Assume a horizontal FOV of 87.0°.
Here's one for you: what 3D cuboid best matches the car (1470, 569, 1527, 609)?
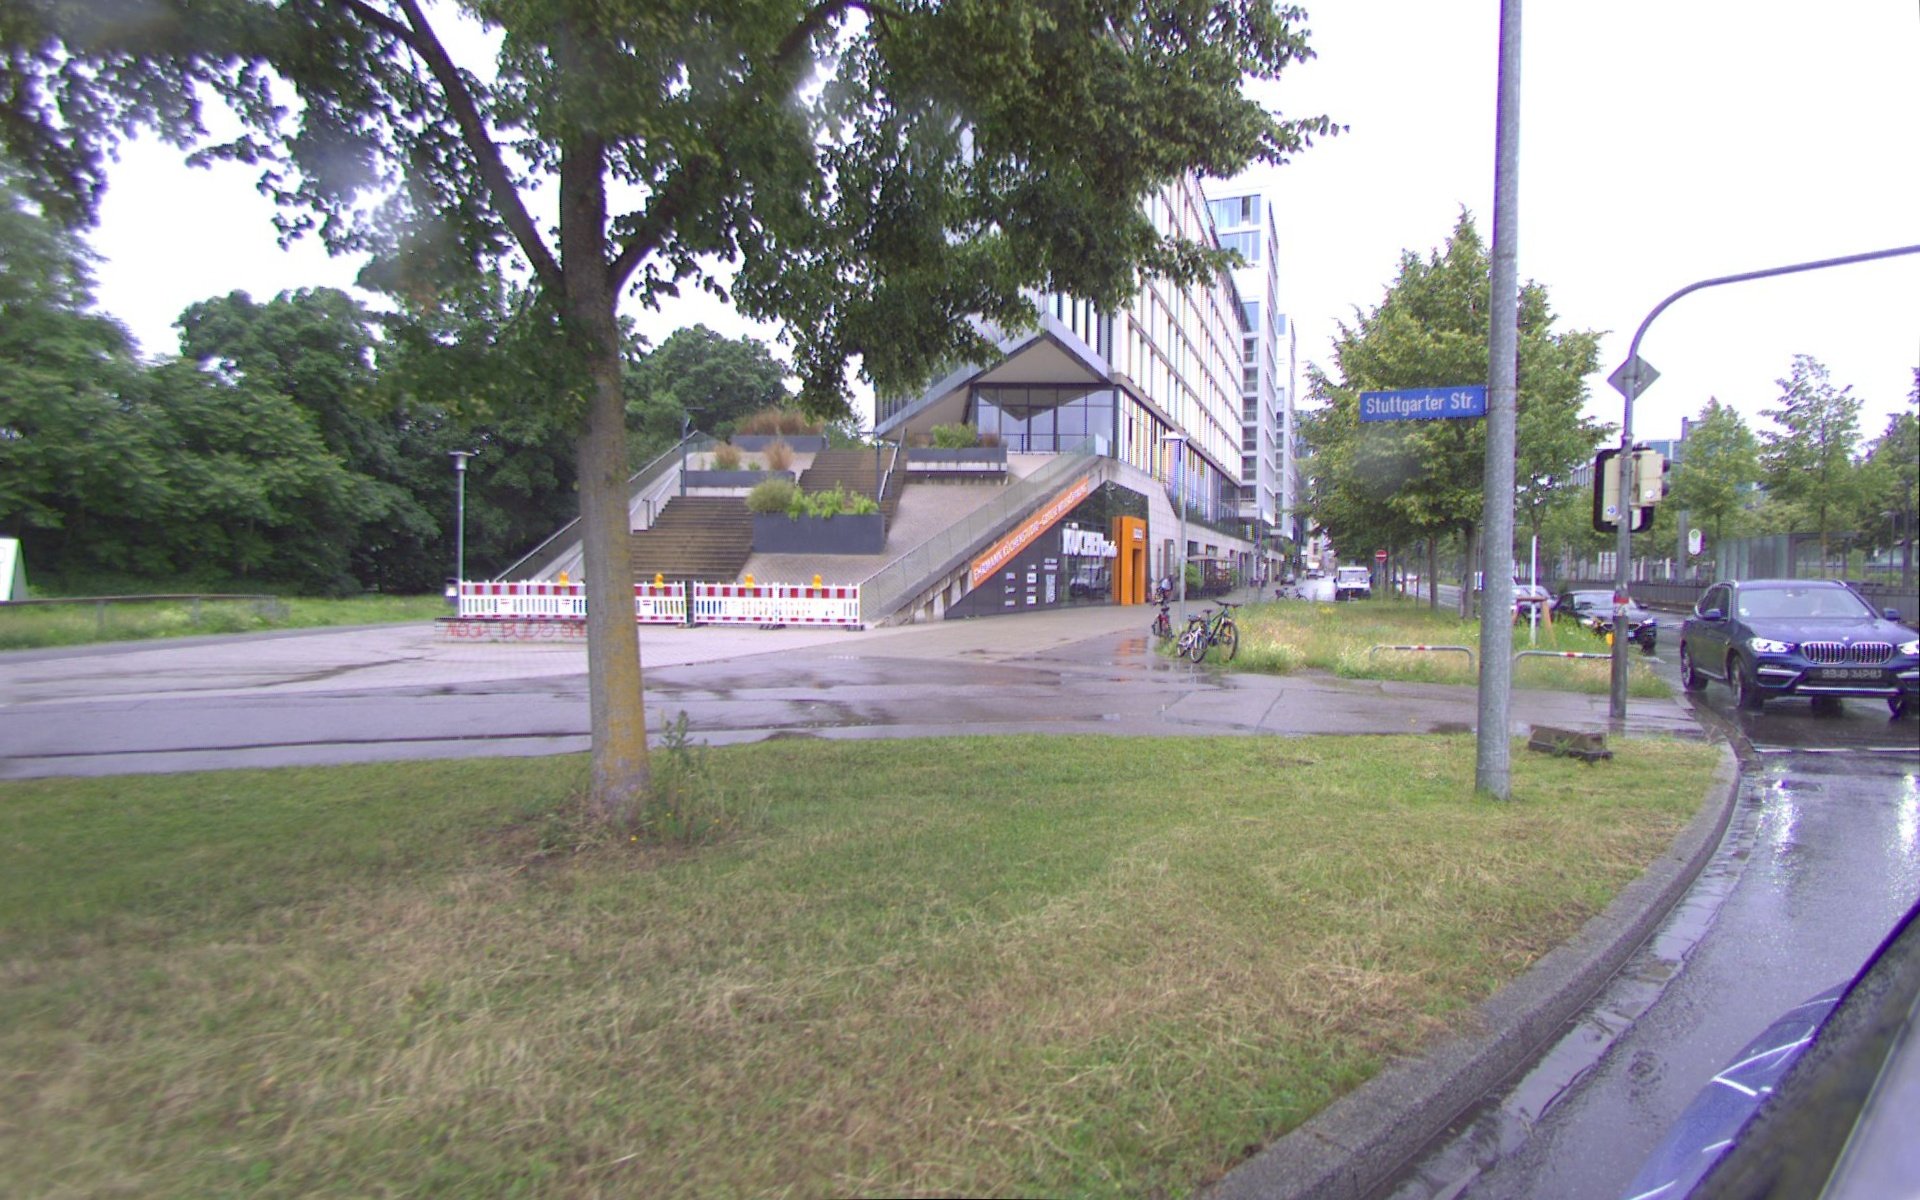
[{"bbox_3d":[23.798,-0.509,44.825,1.768,1.668,3.971,-2,1,22],"label":"car"}]

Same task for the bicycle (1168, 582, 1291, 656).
[{"bbox_3d":[4.619,0.283,17.586,0.542,1.204,2.529,0,1,-26],"label":"bicycle"}]

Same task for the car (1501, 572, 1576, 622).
[{"bbox_3d":[20.856,-0.146,36.625,1.768,1.668,3.971,-2,1,22],"label":"car"}]

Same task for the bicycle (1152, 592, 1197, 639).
[{"bbox_3d":[4.358,0.289,20.496,0.628,0.857,2.150,0,1,19],"label":"bicycle"}]

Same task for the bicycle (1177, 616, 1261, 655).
[{"bbox_3d":[4.426,0.593,17.414,0.314,0.566,1.806,0,1,-26],"label":"bicycle"}]

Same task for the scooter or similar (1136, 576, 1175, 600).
[{"bbox_3d":[10.047,-0.616,51.982,0.808,1.113,2.577,-1,1,40],"label":"scooter or similar"}]

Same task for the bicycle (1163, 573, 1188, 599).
[{"bbox_3d":[11.716,-0.768,54.977,0.873,1.364,2.678,-2,1,22],"label":"bicycle"}]

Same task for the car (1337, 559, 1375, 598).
[{"bbox_3d":[24.562,-1.355,62.755,2.061,2.229,5.061,-2,1,22],"label":"car"}]

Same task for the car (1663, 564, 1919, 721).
[{"bbox_3d":[11.251,0.441,13.667,1.895,1.768,4.352,-2,1,22],"label":"car"}]

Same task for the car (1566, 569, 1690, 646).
[{"bbox_3d":[16.748,0.129,25.589,1.897,1.768,4.348,-2,1,24],"label":"car"}]
